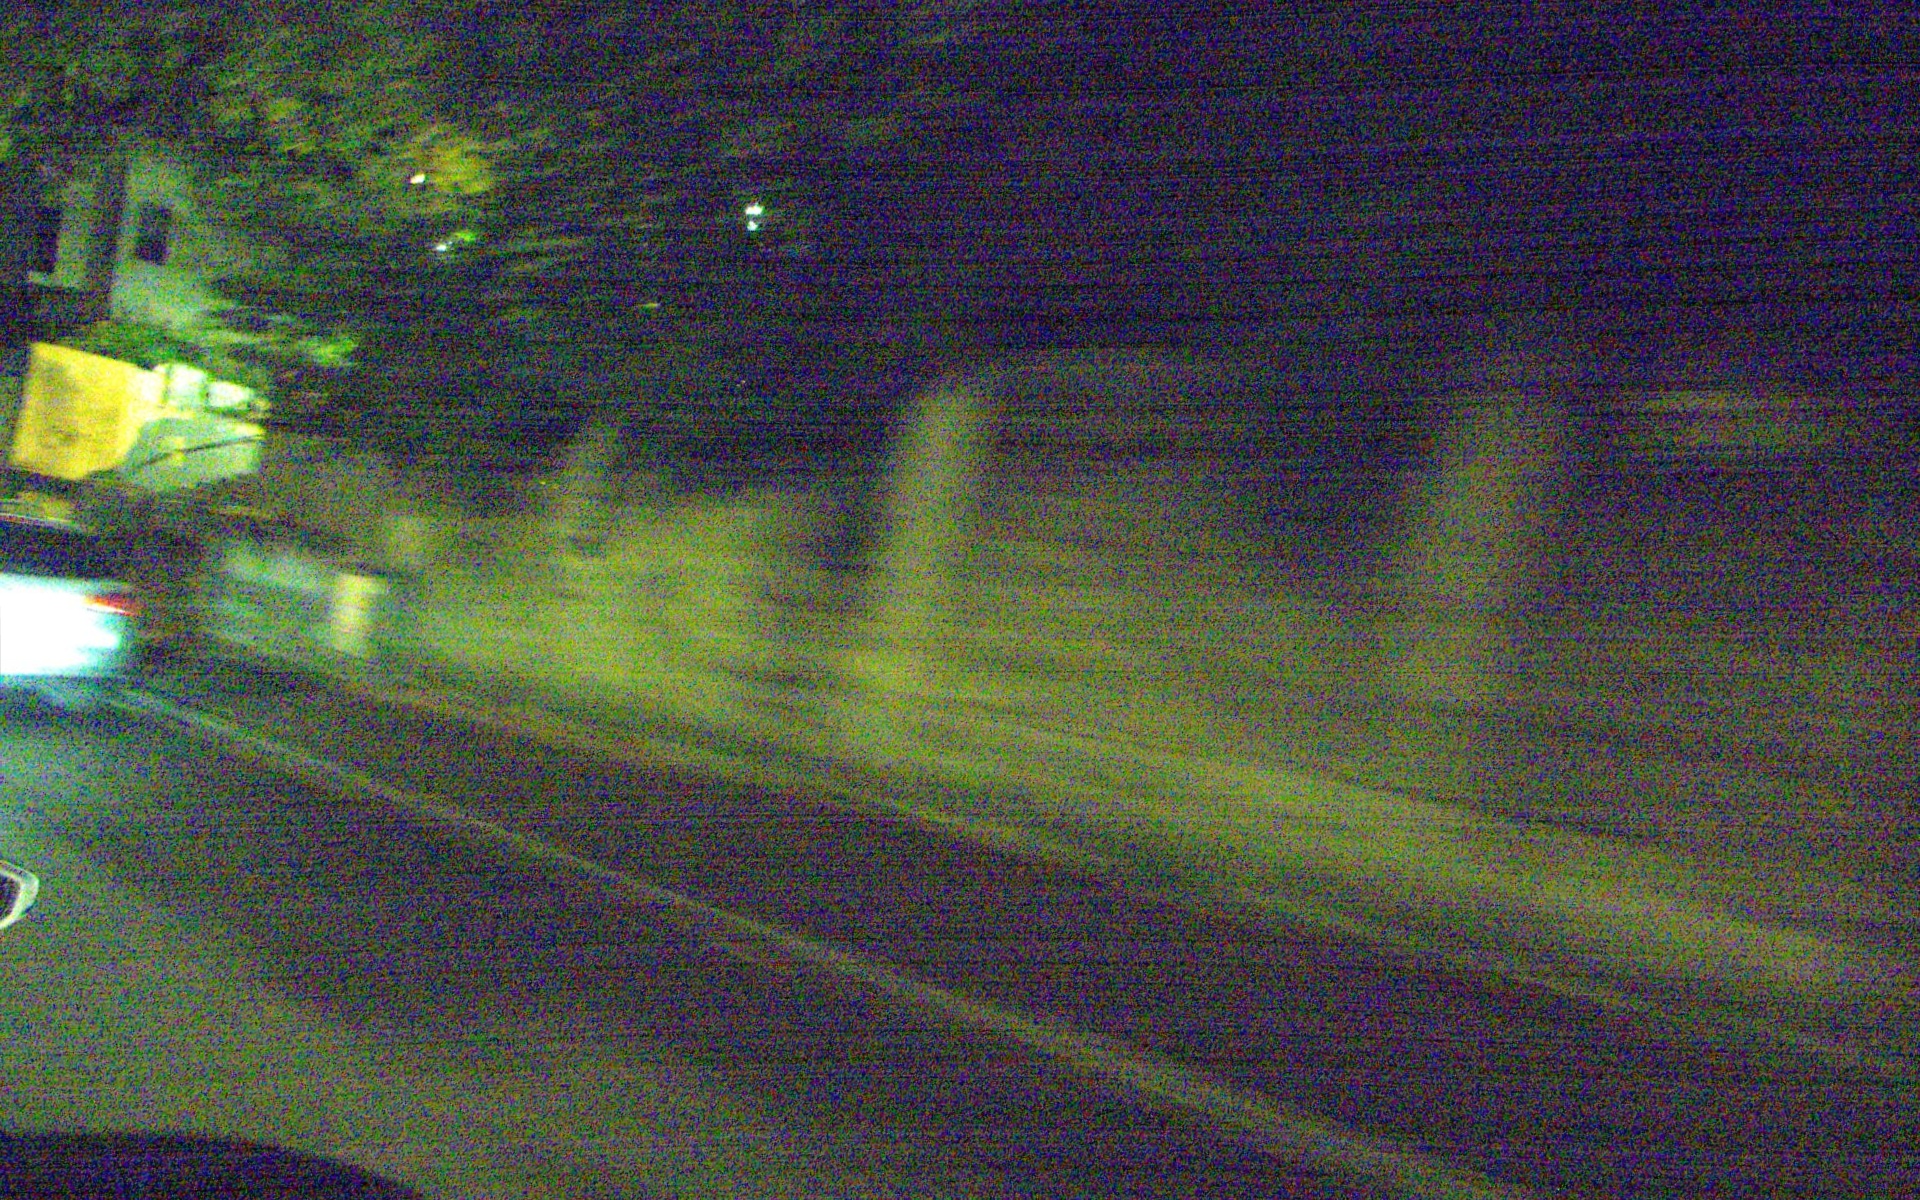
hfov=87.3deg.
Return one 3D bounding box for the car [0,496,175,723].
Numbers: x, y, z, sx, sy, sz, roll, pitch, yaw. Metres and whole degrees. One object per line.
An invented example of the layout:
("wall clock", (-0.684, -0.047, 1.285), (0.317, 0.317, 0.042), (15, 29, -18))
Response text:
("car", (-8.188, -0.153, 7.700), (4.202, 1.492, 1.769), (7, -3, 28))
